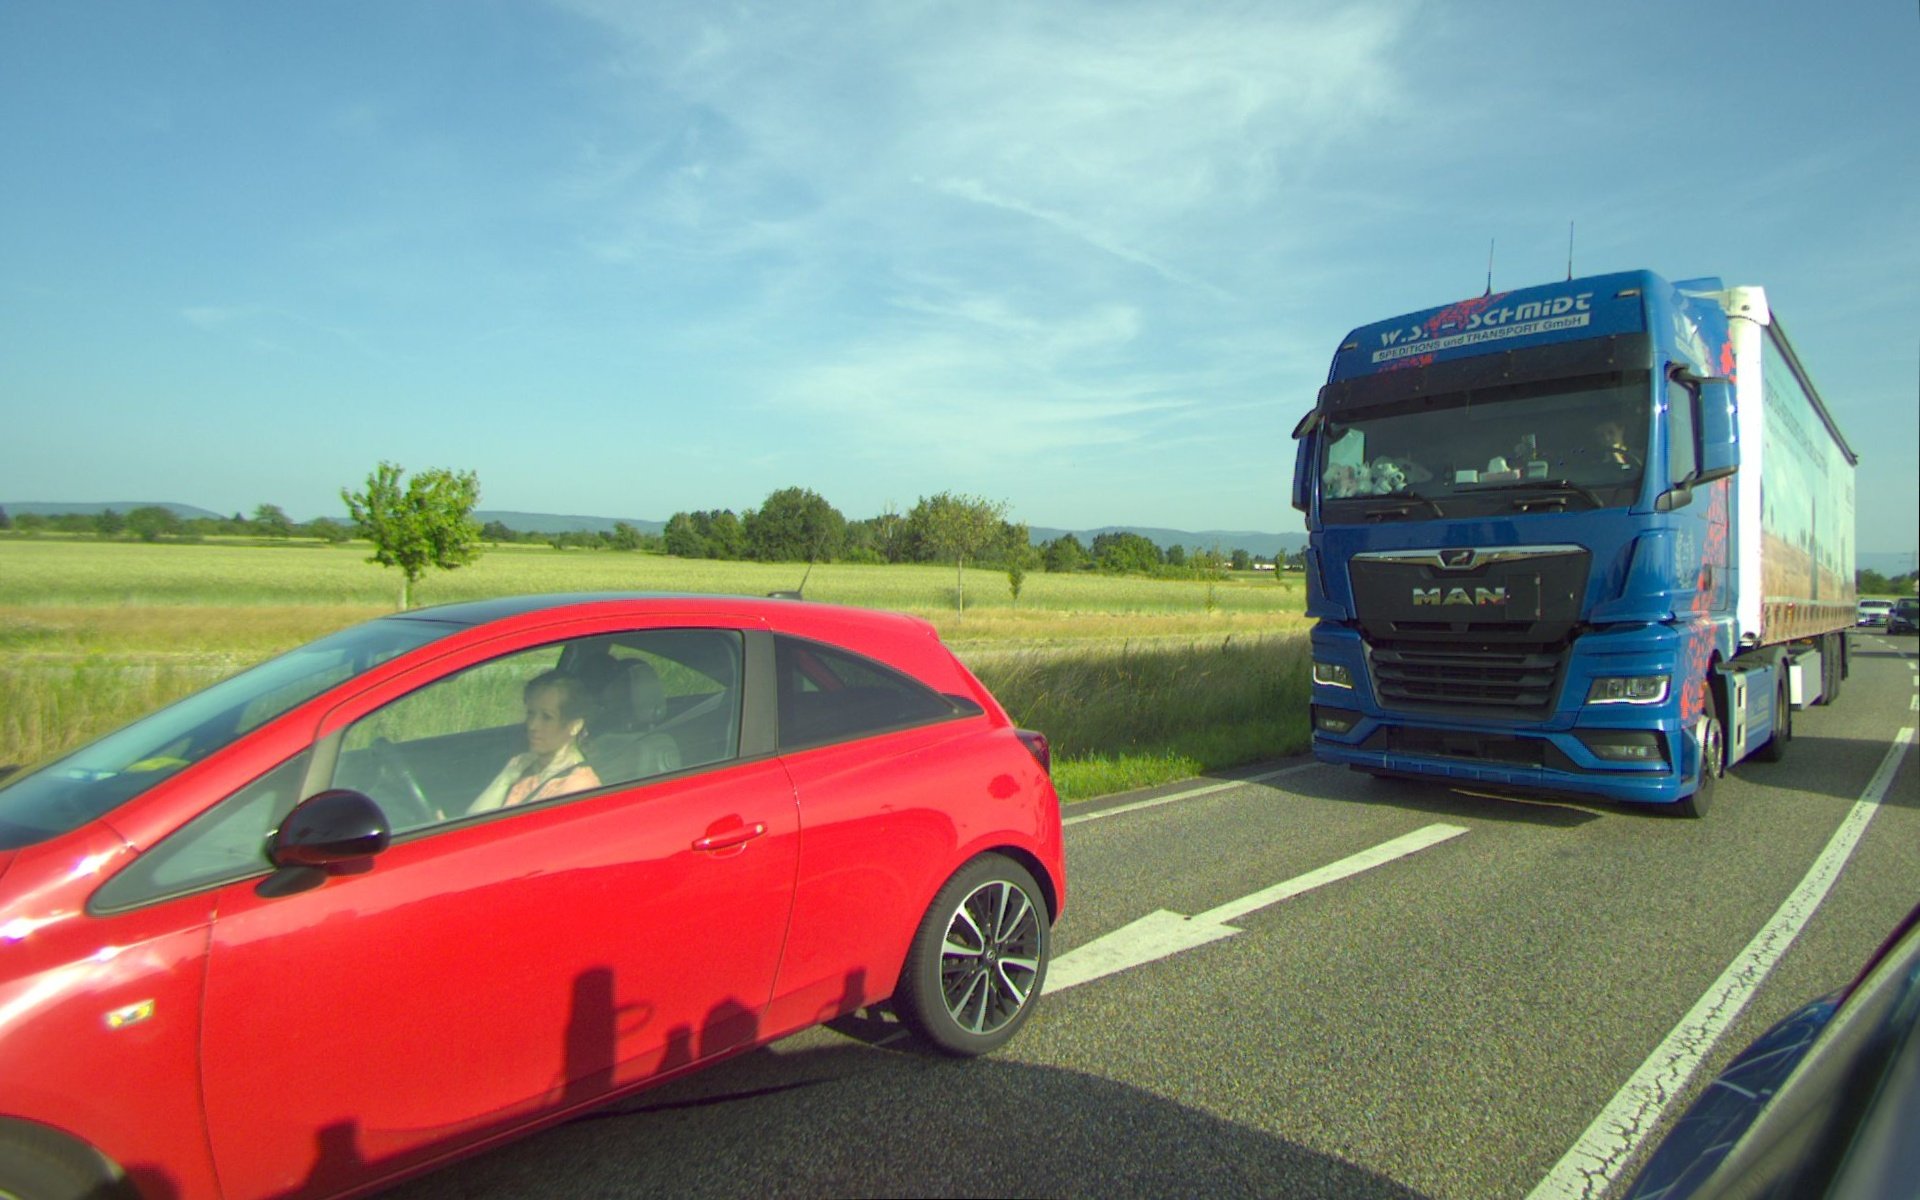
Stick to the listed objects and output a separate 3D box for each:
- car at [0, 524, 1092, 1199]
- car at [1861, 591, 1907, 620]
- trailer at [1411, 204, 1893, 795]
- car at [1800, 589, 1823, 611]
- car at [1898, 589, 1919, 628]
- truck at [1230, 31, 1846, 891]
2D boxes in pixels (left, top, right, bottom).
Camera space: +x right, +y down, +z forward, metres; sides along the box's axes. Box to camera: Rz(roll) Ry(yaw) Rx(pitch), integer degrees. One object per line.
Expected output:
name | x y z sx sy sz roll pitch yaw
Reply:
car | -1.450 0.636 2.857 3.689 1.568 1.698 0 2 -44
car | 48.085 0.279 52.704 1.551 1.417 3.977 2 2 40
trailer | 10.333 -0.917 13.920 3.282 4.739 12.937 0 1 44
car | 78.497 0.009 93.321 1.551 1.944 3.977 2 1 40
car | 39.579 0.345 41.415 1.551 1.579 3.005 2 1 40
truck | 5.240 -0.806 8.737 3.301 4.716 5.640 0 1 45
